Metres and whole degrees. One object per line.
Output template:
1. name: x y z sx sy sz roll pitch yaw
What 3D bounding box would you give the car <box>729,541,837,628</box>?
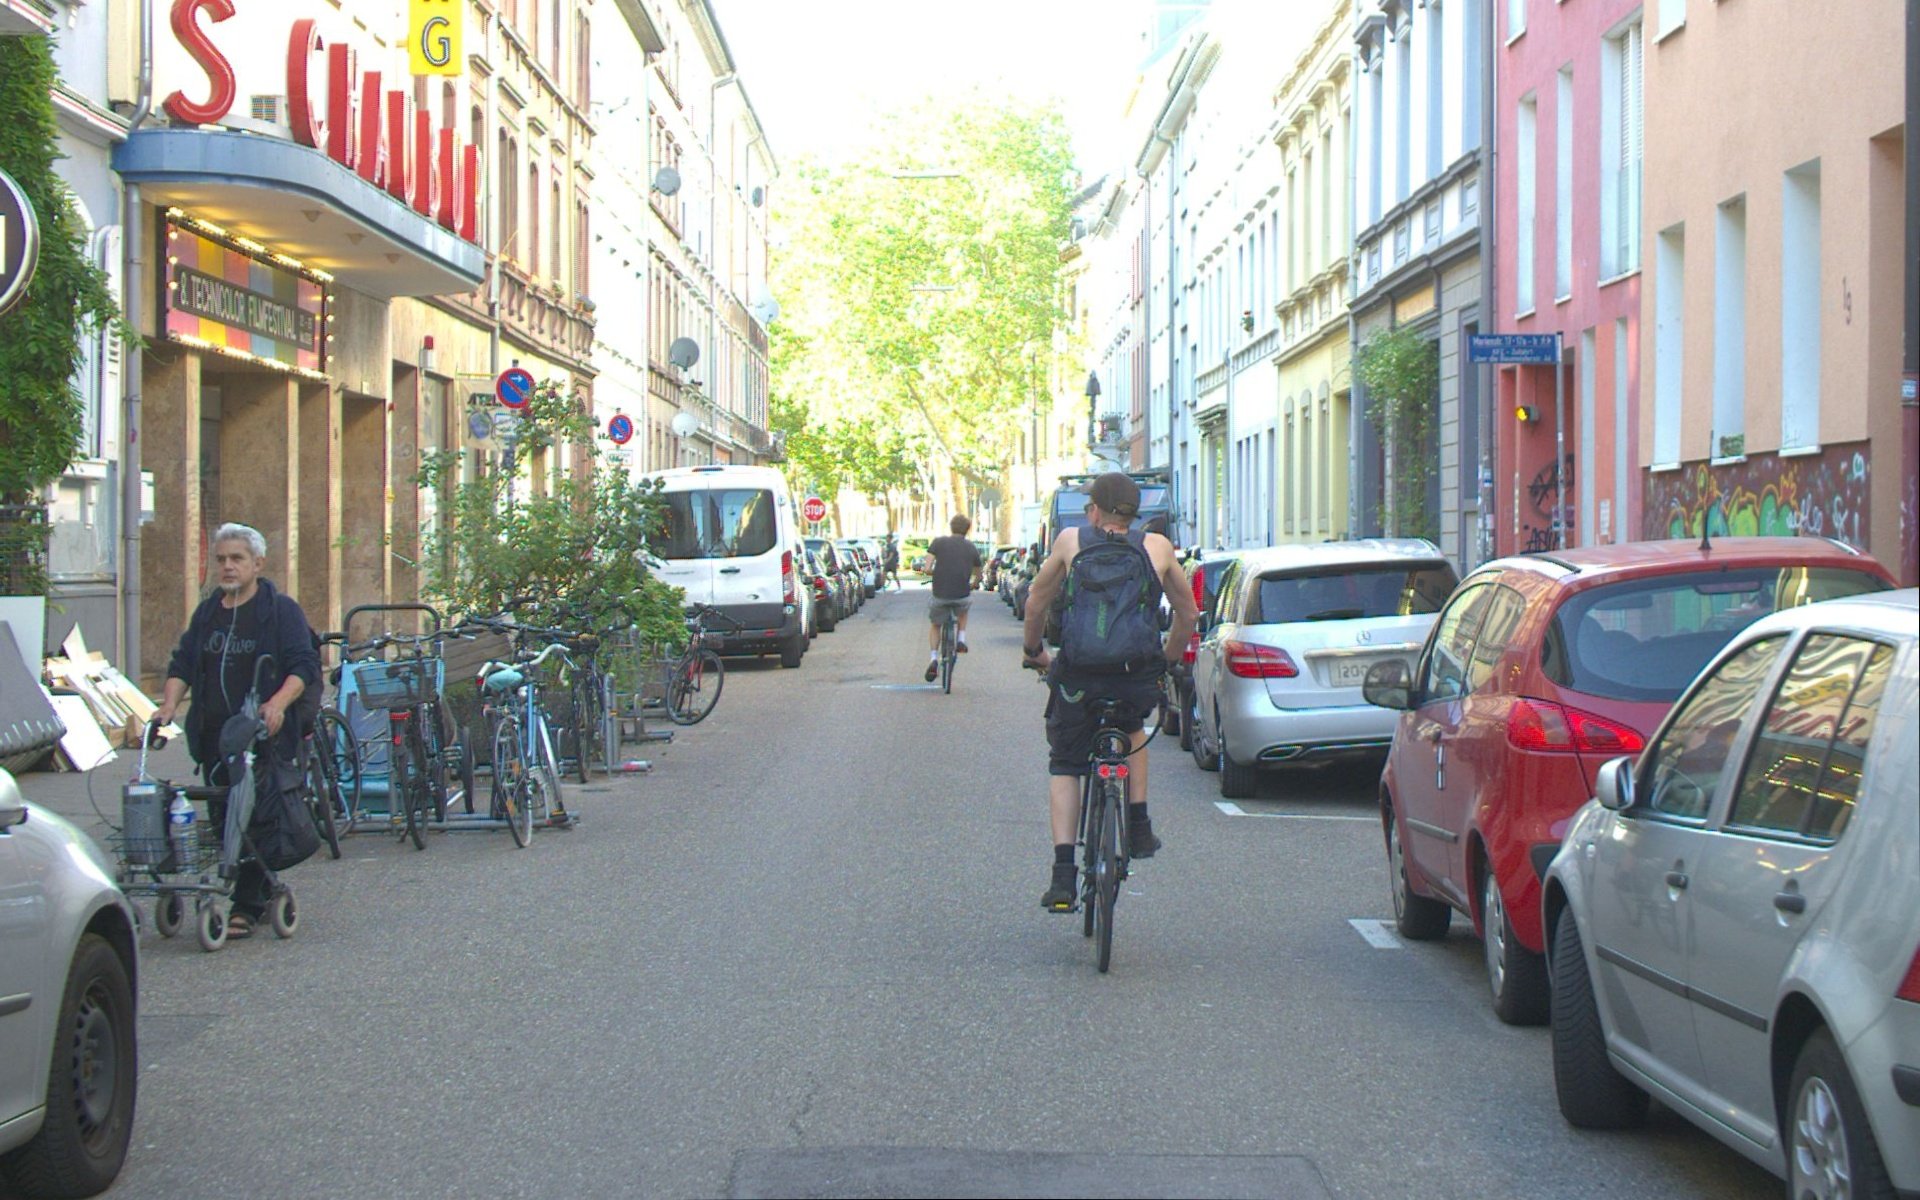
1. car: -3.162 -0.311 61.878 1.862 1.435 4.646 0 2 -2

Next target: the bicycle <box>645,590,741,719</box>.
1. bicycle: -2.341 0.462 30.010 0.460 1.044 1.751 1 1 -16

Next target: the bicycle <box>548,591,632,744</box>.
1. bicycle: -2.841 0.497 26.479 0.546 1.090 1.882 2 1 -4

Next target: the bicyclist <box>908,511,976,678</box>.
1. bicyclist: -0.181 -0.066 34.547 0.669 1.653 0.877 0 1 0

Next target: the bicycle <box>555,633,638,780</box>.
1. bicycle: -2.408 0.693 22.851 0.390 0.913 1.393 0 1 0

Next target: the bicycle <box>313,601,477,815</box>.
1. bicycle: -3.217 0.606 19.634 0.812 1.171 0.920 1 1 -2

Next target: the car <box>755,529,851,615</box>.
1. car: -3.301 -0.614 72.897 1.801 1.692 4.000 -2 1 0

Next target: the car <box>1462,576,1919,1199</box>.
1. car: 2.363 0.706 7.846 1.688 1.448 4.194 -1 1 -2

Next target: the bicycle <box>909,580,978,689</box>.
1. bicycle: -0.168 0.331 34.570 0.664 1.034 1.959 0 1 0

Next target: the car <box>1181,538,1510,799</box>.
1. car: 2.444 0.373 22.671 1.746 1.550 4.171 0 1 1

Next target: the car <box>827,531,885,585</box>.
1. car: -3.385 -1.377 112.445 1.787 1.731 3.876 0 1 -1

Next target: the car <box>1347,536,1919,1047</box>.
1. car: 2.469 0.549 12.462 1.697 1.518 3.980 -1 1 1

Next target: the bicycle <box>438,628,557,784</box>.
1. bicycle: -3.014 0.677 22.502 0.554 0.941 1.572 0 1 0

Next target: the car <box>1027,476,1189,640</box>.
1. car: 2.277 -0.689 54.667 2.175 2.417 6.310 -1 1 -1

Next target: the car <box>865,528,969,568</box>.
1. car: -1.915 -2.296 151.951 4.468 1.753 1.867 0 1 -4

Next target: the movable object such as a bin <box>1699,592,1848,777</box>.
1. movable object such as a bin: 4.898 0.501 20.730 0.692 1.054 0.736 -2 1 0

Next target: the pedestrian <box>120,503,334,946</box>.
1. pedestrian: -2.903 0.481 13.672 0.713 1.702 0.672 1 1 -4

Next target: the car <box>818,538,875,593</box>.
1. car: -3.327 -1.022 100.246 1.544 1.545 3.466 0 1 -3

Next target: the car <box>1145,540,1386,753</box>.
1. car: 2.385 0.322 27.487 1.602 1.534 3.450 -2 1 1

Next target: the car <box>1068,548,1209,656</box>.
1. car: 2.477 -0.003 48.445 1.747 1.439 4.172 0 1 0

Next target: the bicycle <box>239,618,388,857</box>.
1. bicycle: -3.278 0.671 17.533 0.443 1.102 1.874 1 1 -2

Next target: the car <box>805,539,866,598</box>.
1. car: -3.360 -0.872 92.871 1.604 1.525 3.379 -1 1 -2

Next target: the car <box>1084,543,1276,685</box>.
1. car: 2.467 0.113 39.547 1.786 1.449 4.547 -3 1 -1

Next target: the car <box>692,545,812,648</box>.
1. car: -3.026 -0.081 50.590 1.645 1.442 3.840 0 1 -2

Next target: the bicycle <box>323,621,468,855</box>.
1. bicycle: -2.930 0.691 17.973 0.443 1.102 1.932 1 1 -1

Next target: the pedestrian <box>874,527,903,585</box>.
1. pedestrian: -2.235 -1.381 107.637 0.785 1.811 0.651 2 1 -7

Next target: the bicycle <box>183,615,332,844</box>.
1. bicycle: -3.678 0.653 18.091 0.443 1.102 1.698 1 1 -1

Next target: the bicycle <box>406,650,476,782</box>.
1. bicycle: -3.476 0.765 23.057 0.256 0.814 1.299 1 1 0

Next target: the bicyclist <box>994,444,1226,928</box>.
1. bicyclist: 0.531 0.291 12.568 0.740 1.673 1.117 2 1 -1

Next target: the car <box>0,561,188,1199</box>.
1. car: -2.897 0.683 6.638 1.681 1.450 4.033 -1 1 3

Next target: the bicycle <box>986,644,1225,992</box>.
1. bicycle: 0.502 0.750 12.656 0.740 1.097 2.042 2 1 -1

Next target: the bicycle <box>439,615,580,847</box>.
1. bicycle: -2.342 0.655 18.006 0.499 1.102 1.830 1 1 -1

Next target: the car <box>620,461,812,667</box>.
1. car: -3.081 -0.491 44.527 2.168 2.443 5.922 -1 1 -2

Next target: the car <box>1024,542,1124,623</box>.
1. car: 2.160 -0.364 65.997 1.746 1.480 4.243 0 1 0

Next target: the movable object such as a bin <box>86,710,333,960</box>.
1. movable object such as a bin: -2.857 0.891 13.138 0.844 0.894 0.586 1 1 -6

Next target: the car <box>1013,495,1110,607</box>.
1. car: 2.409 -1.175 81.265 2.204 2.542 6.036 0 1 2
